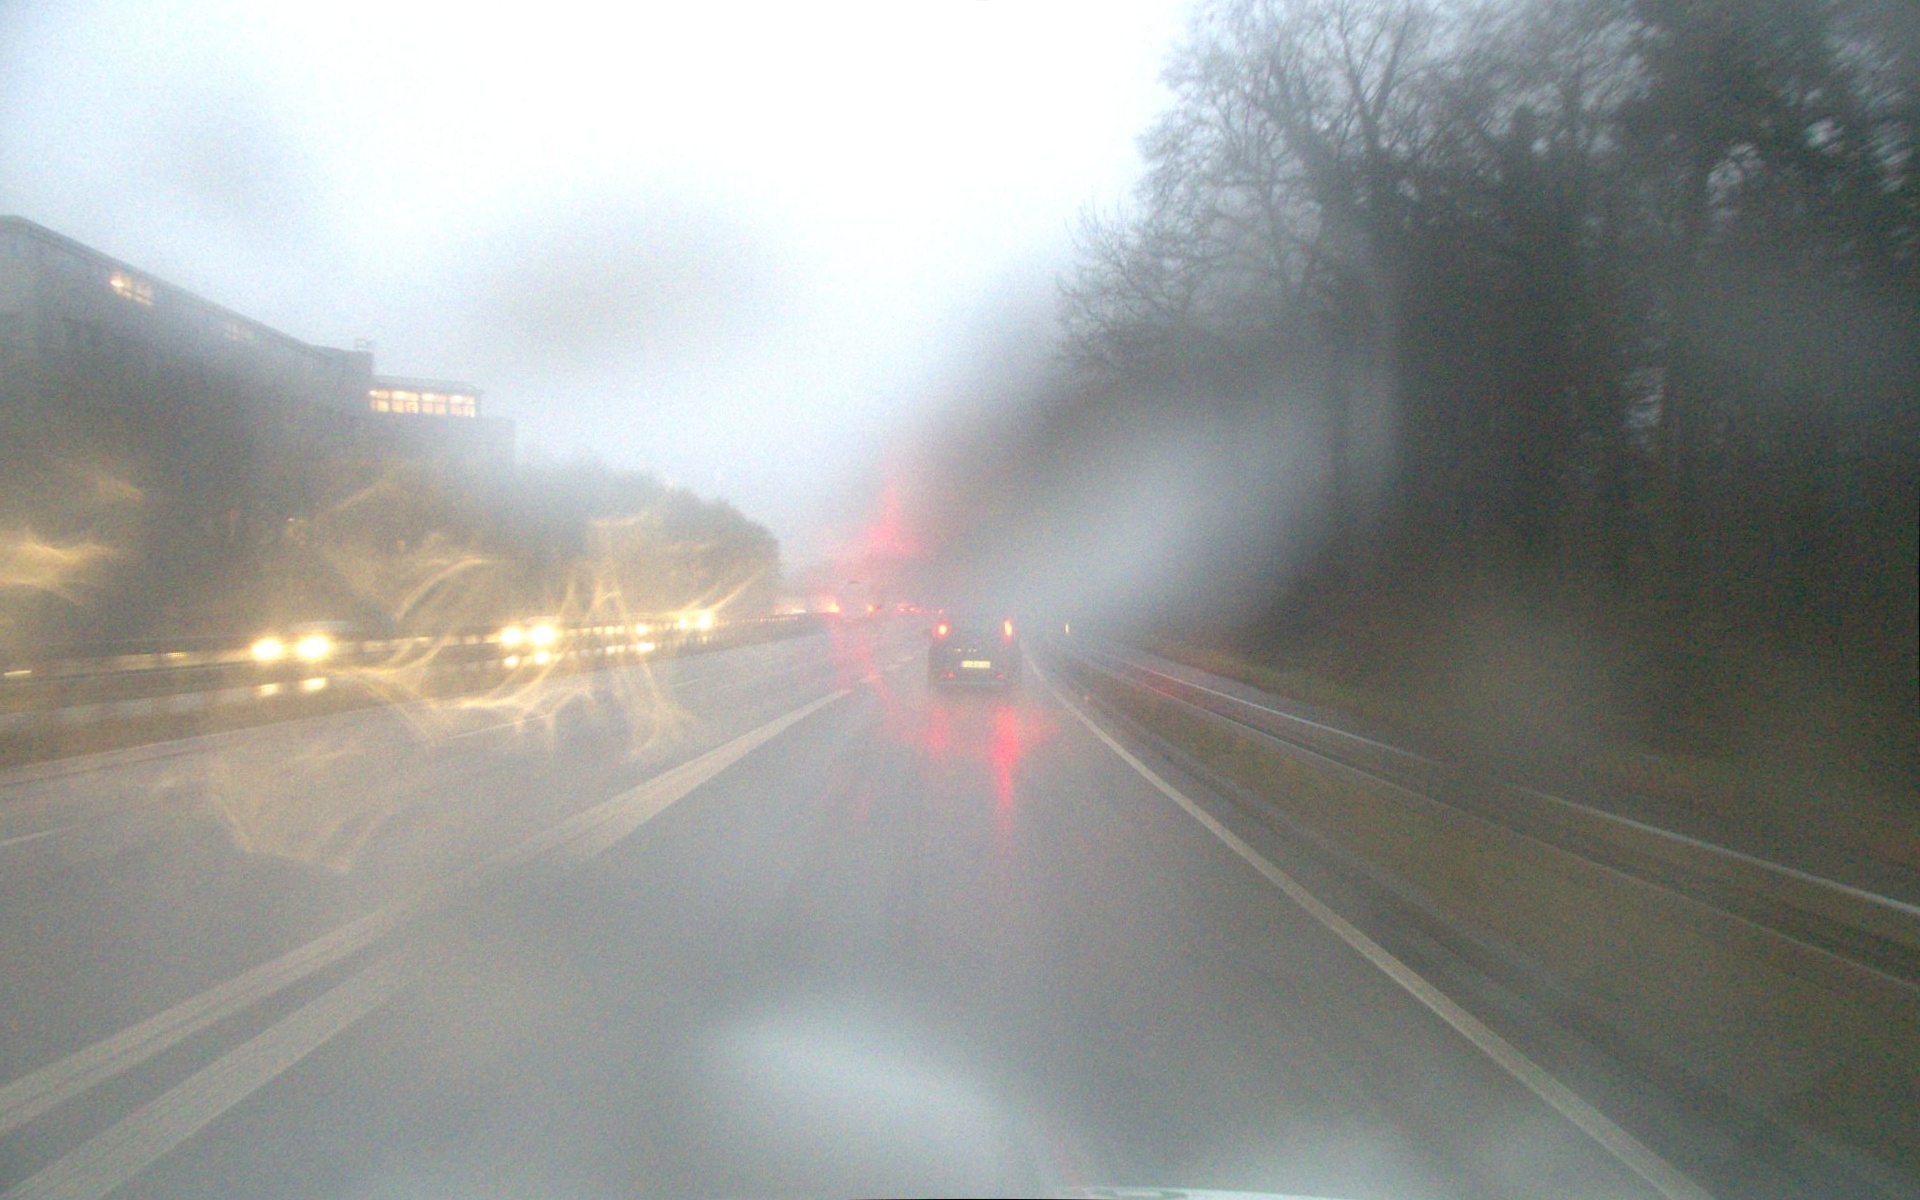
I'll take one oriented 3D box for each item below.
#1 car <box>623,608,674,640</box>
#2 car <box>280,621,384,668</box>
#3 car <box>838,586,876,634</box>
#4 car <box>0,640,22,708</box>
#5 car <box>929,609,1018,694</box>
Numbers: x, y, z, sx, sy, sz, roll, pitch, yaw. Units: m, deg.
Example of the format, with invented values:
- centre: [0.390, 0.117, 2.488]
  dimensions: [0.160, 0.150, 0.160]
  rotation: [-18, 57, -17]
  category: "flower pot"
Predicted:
- centre: [-15.094, 1.143, 80.291]
  dimensions: [1.513, 1.468, 4.362]
  rotation: [1, 0, 2]
  category: "car"
- centre: [-19.673, 1.380, 52.014]
  dimensions: [1.513, 1.345, 4.258]
  rotation: [1, 0, 2]
  category: "car"
- centre: [-5.615, 0.551, 90.568]
  dimensions: [1.961, 2.496, 3.997]
  rotation: [1, 0, -4]
  category: "car"
- centre: [-20.103, 1.471, 31.600]
  dimensions: [1.674, 1.345, 4.473]
  rotation: [1, 0, 2]
  category: "car"
- centre: [0.204, 0.910, 30.480]
  dimensions: [1.496, 1.440, 3.478]
  rotation: [1, 0, -2]
  category: "car"
